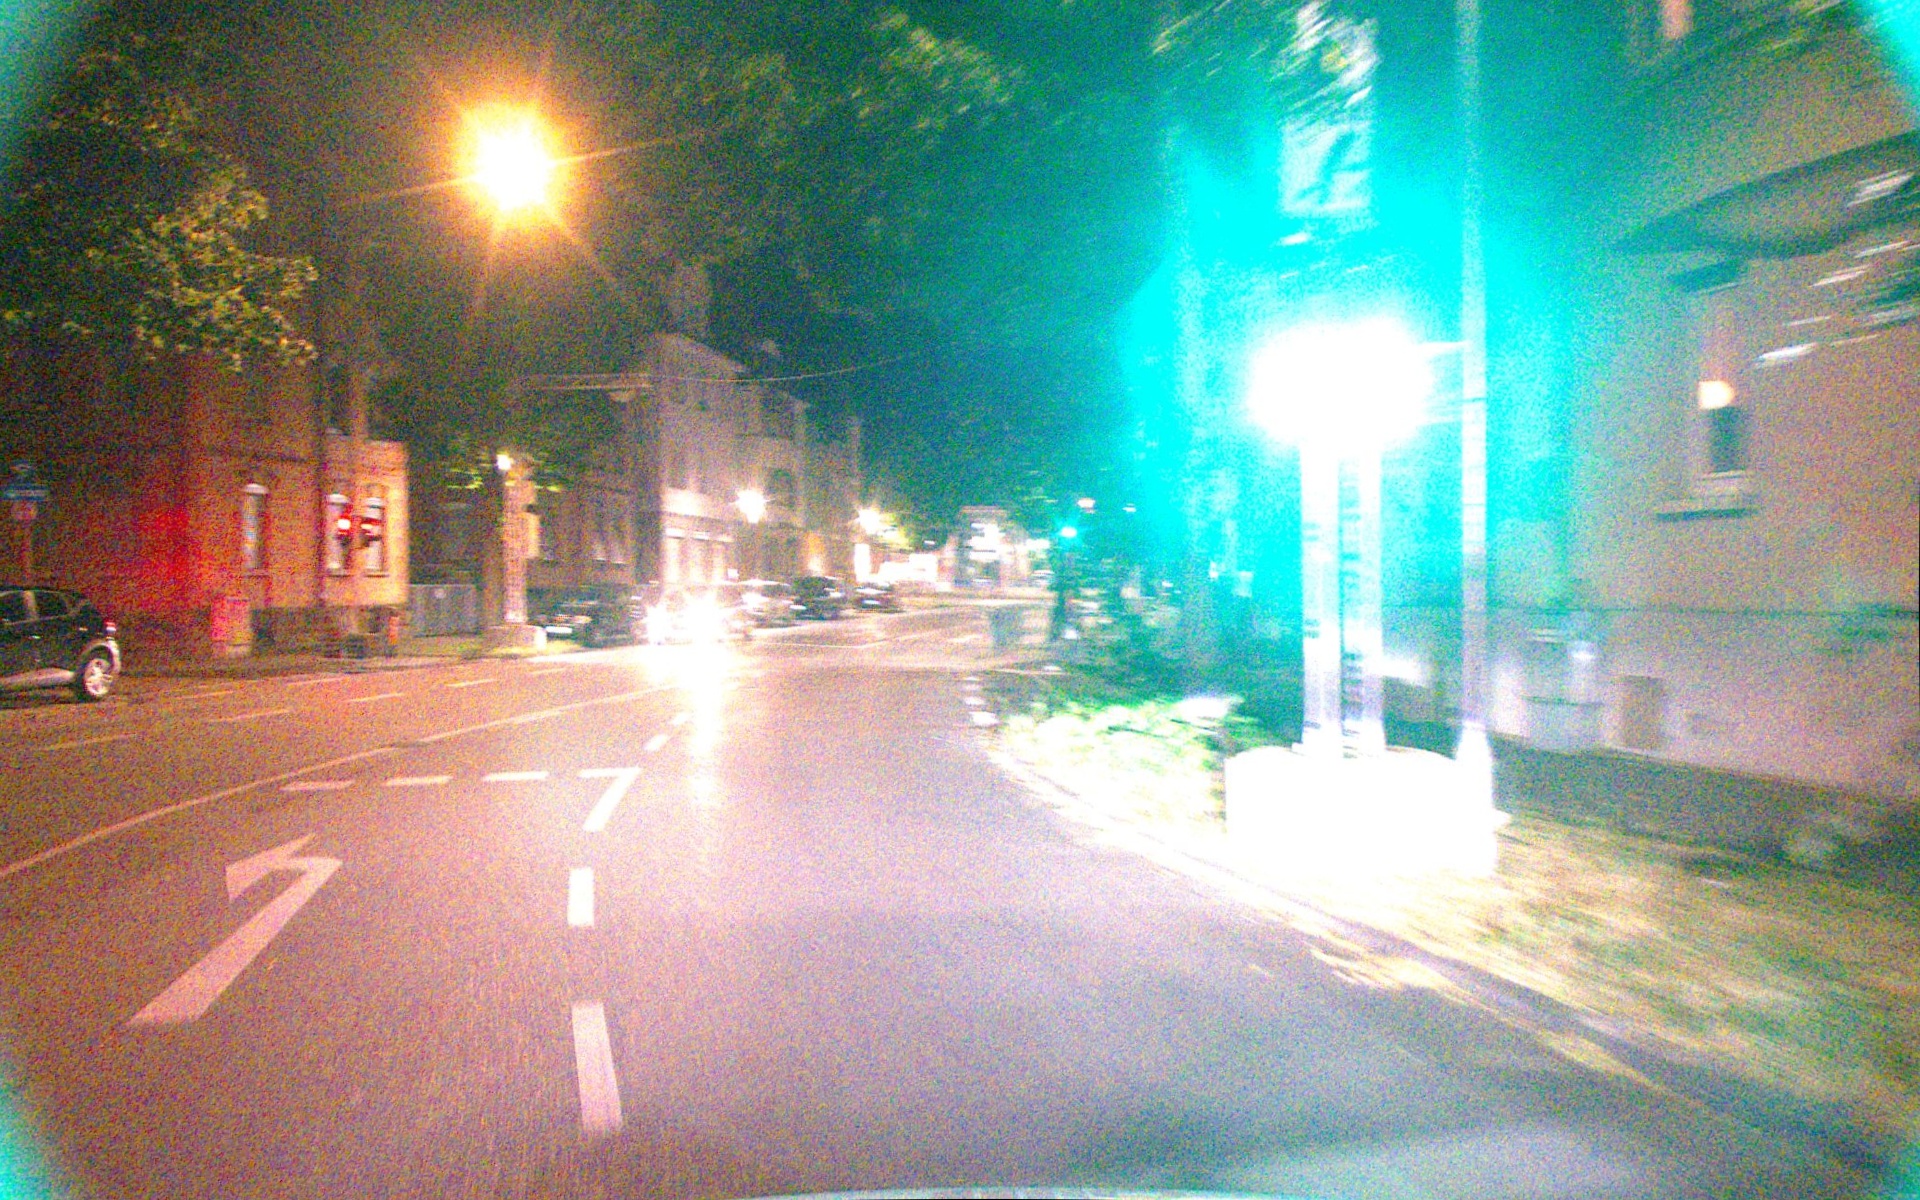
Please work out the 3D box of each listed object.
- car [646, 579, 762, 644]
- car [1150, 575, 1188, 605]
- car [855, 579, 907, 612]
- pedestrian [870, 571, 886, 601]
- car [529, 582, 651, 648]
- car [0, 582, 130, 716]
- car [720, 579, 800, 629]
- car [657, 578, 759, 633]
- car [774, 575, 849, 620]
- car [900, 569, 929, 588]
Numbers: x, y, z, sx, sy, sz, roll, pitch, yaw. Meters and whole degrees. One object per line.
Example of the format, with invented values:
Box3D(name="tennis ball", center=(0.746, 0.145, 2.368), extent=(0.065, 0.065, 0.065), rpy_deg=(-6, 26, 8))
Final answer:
Box3D(name="car", center=(-6.370, 0.261, 41.628), extent=(1.678, 1.454, 4.004), rpy_deg=(-2, 1, 9))
Box3D(name="car", center=(10.559, -0.522, 83.637), extent=(1.697, 1.485, 4.731), rpy_deg=(0, 1, 5))
Box3D(name="car", center=(-3.638, -0.226, 76.933), extent=(1.746, 1.440, 4.130), rpy_deg=(1, 1, 7))
Box3D(name="pedestrian", center=(-5.052, -0.843, 102.383), extent=(0.718, 1.853, 0.683), rpy_deg=(1, 0, -38))
Box3D(name="car", center=(-9.326, 0.333, 41.960), extent=(1.558, 1.517, 3.703), rpy_deg=(2, 2, 13))
Box3D(name="car", center=(-12.711, 0.605, 20.984), extent=(1.845, 1.624, 4.028), rpy_deg=(1, 1, 10))
Box3D(name="car", center=(-6.799, 0.103, 56.471), extent=(1.746, 1.517, 4.004), rpy_deg=(2, 2, 7))
Box3D(name="car", center=(-7.741, 0.138, 51.181), extent=(1.746, 1.517, 4.334), rpy_deg=(2, 2, 10))
Box3D(name="car", center=(-5.735, -0.130, 64.425), extent=(1.746, 1.609, 4.415), rpy_deg=(2, 2, 10))
Box3D(name="car", center=(-3.782, -1.827, 139.064), extent=(1.951, 1.601, 4.331), rpy_deg=(-1, 1, 5))
